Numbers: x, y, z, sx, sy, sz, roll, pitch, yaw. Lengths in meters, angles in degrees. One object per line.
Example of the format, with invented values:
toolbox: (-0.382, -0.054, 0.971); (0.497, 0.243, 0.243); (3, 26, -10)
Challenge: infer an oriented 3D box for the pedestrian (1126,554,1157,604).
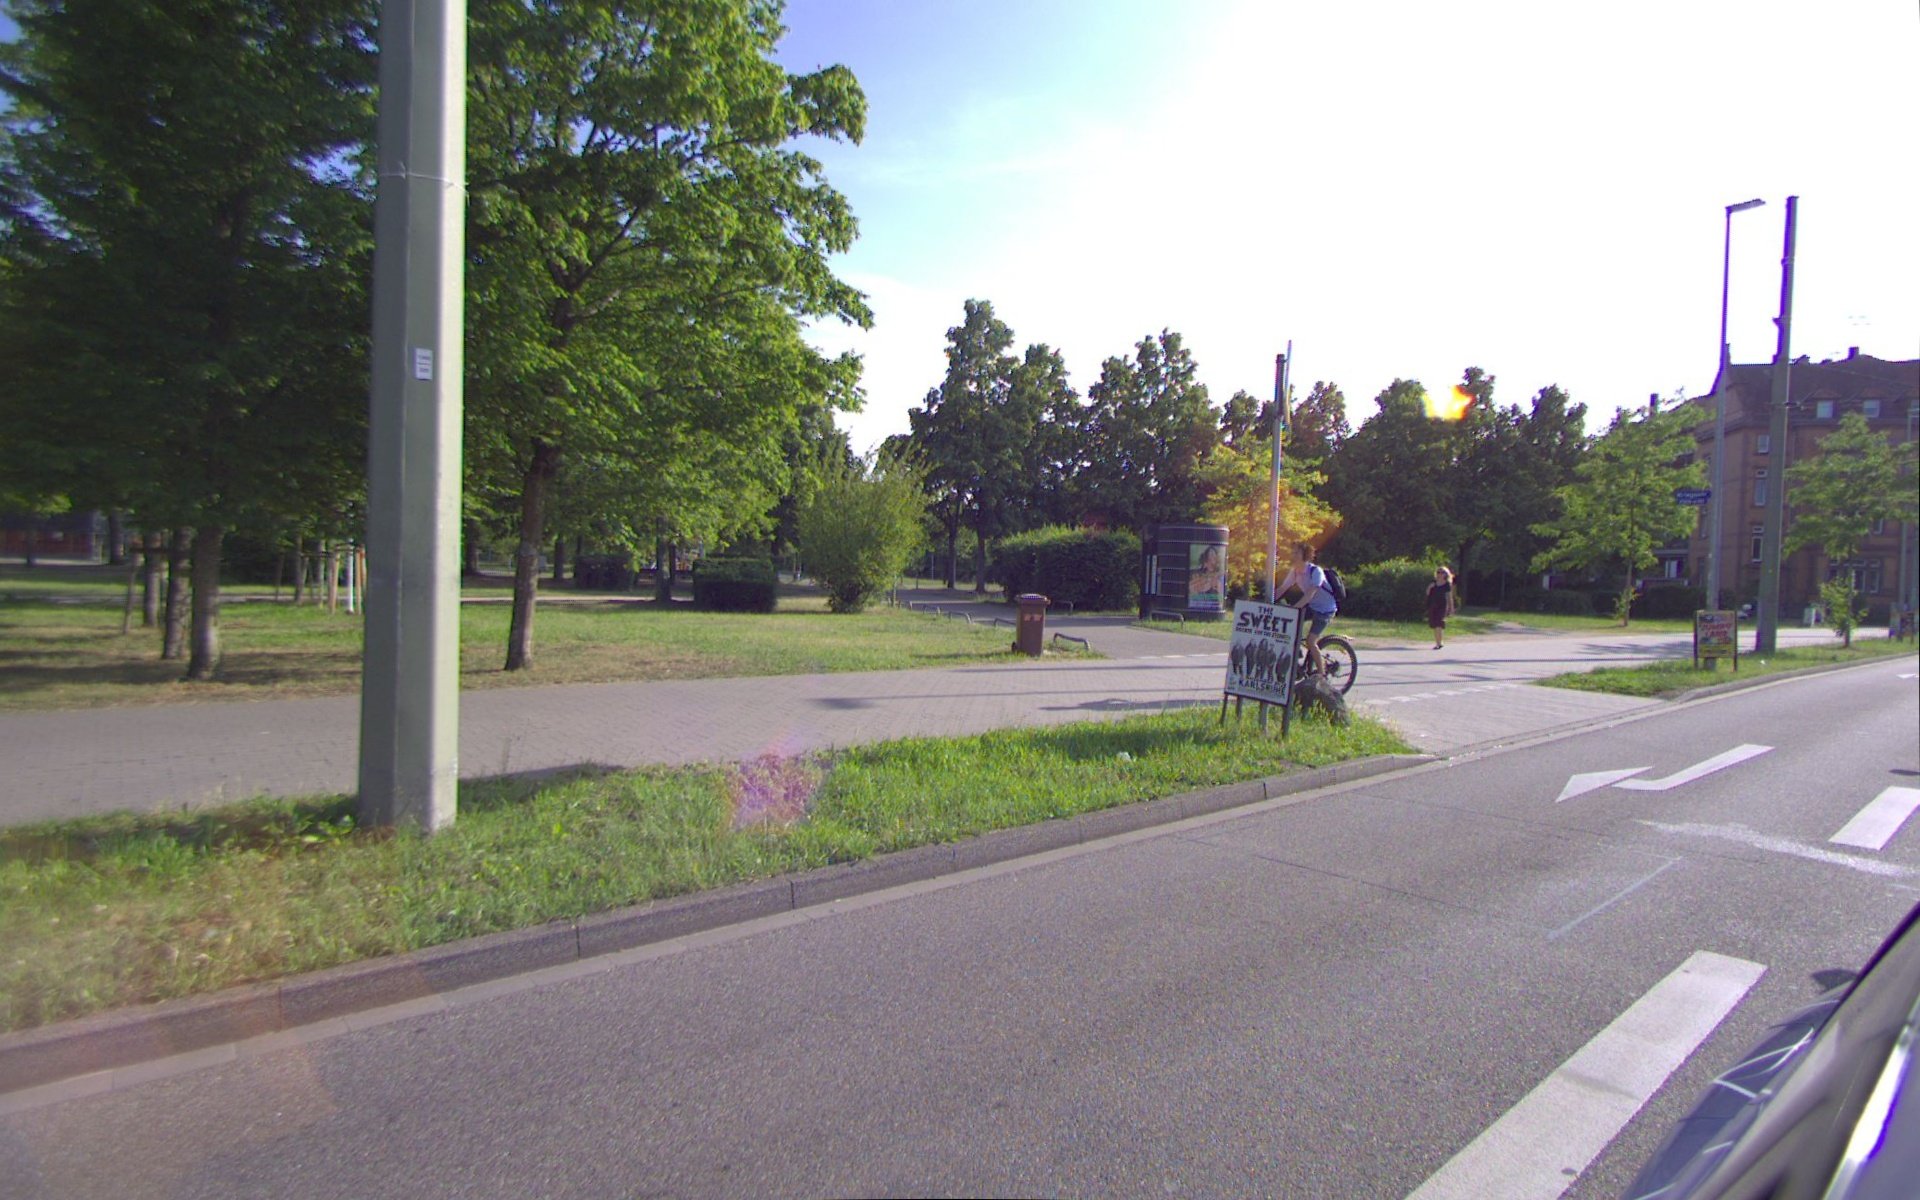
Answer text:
pedestrian: (8.054, -0.920, 44.938); (0.872, 2.184, 0.914); (1, 1, -28)

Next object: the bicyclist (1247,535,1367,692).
bicyclist: (4.132, 0.146, 12.059); (1.117, 1.766, 0.652); (1, 4, -29)

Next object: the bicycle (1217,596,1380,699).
bicycle: (4.039, 0.550, 12.048); (1.900, 1.101, 0.644); (1, 4, -28)

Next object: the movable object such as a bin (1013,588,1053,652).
movable object such as a bin: (1.094, 0.292, 15.272); (0.514, 0.915, 0.504); (2, 1, -2)

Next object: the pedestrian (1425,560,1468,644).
pedestrian: (10.264, 0.039, 21.337); (0.651, 1.722, 0.558); (1, 2, -41)
